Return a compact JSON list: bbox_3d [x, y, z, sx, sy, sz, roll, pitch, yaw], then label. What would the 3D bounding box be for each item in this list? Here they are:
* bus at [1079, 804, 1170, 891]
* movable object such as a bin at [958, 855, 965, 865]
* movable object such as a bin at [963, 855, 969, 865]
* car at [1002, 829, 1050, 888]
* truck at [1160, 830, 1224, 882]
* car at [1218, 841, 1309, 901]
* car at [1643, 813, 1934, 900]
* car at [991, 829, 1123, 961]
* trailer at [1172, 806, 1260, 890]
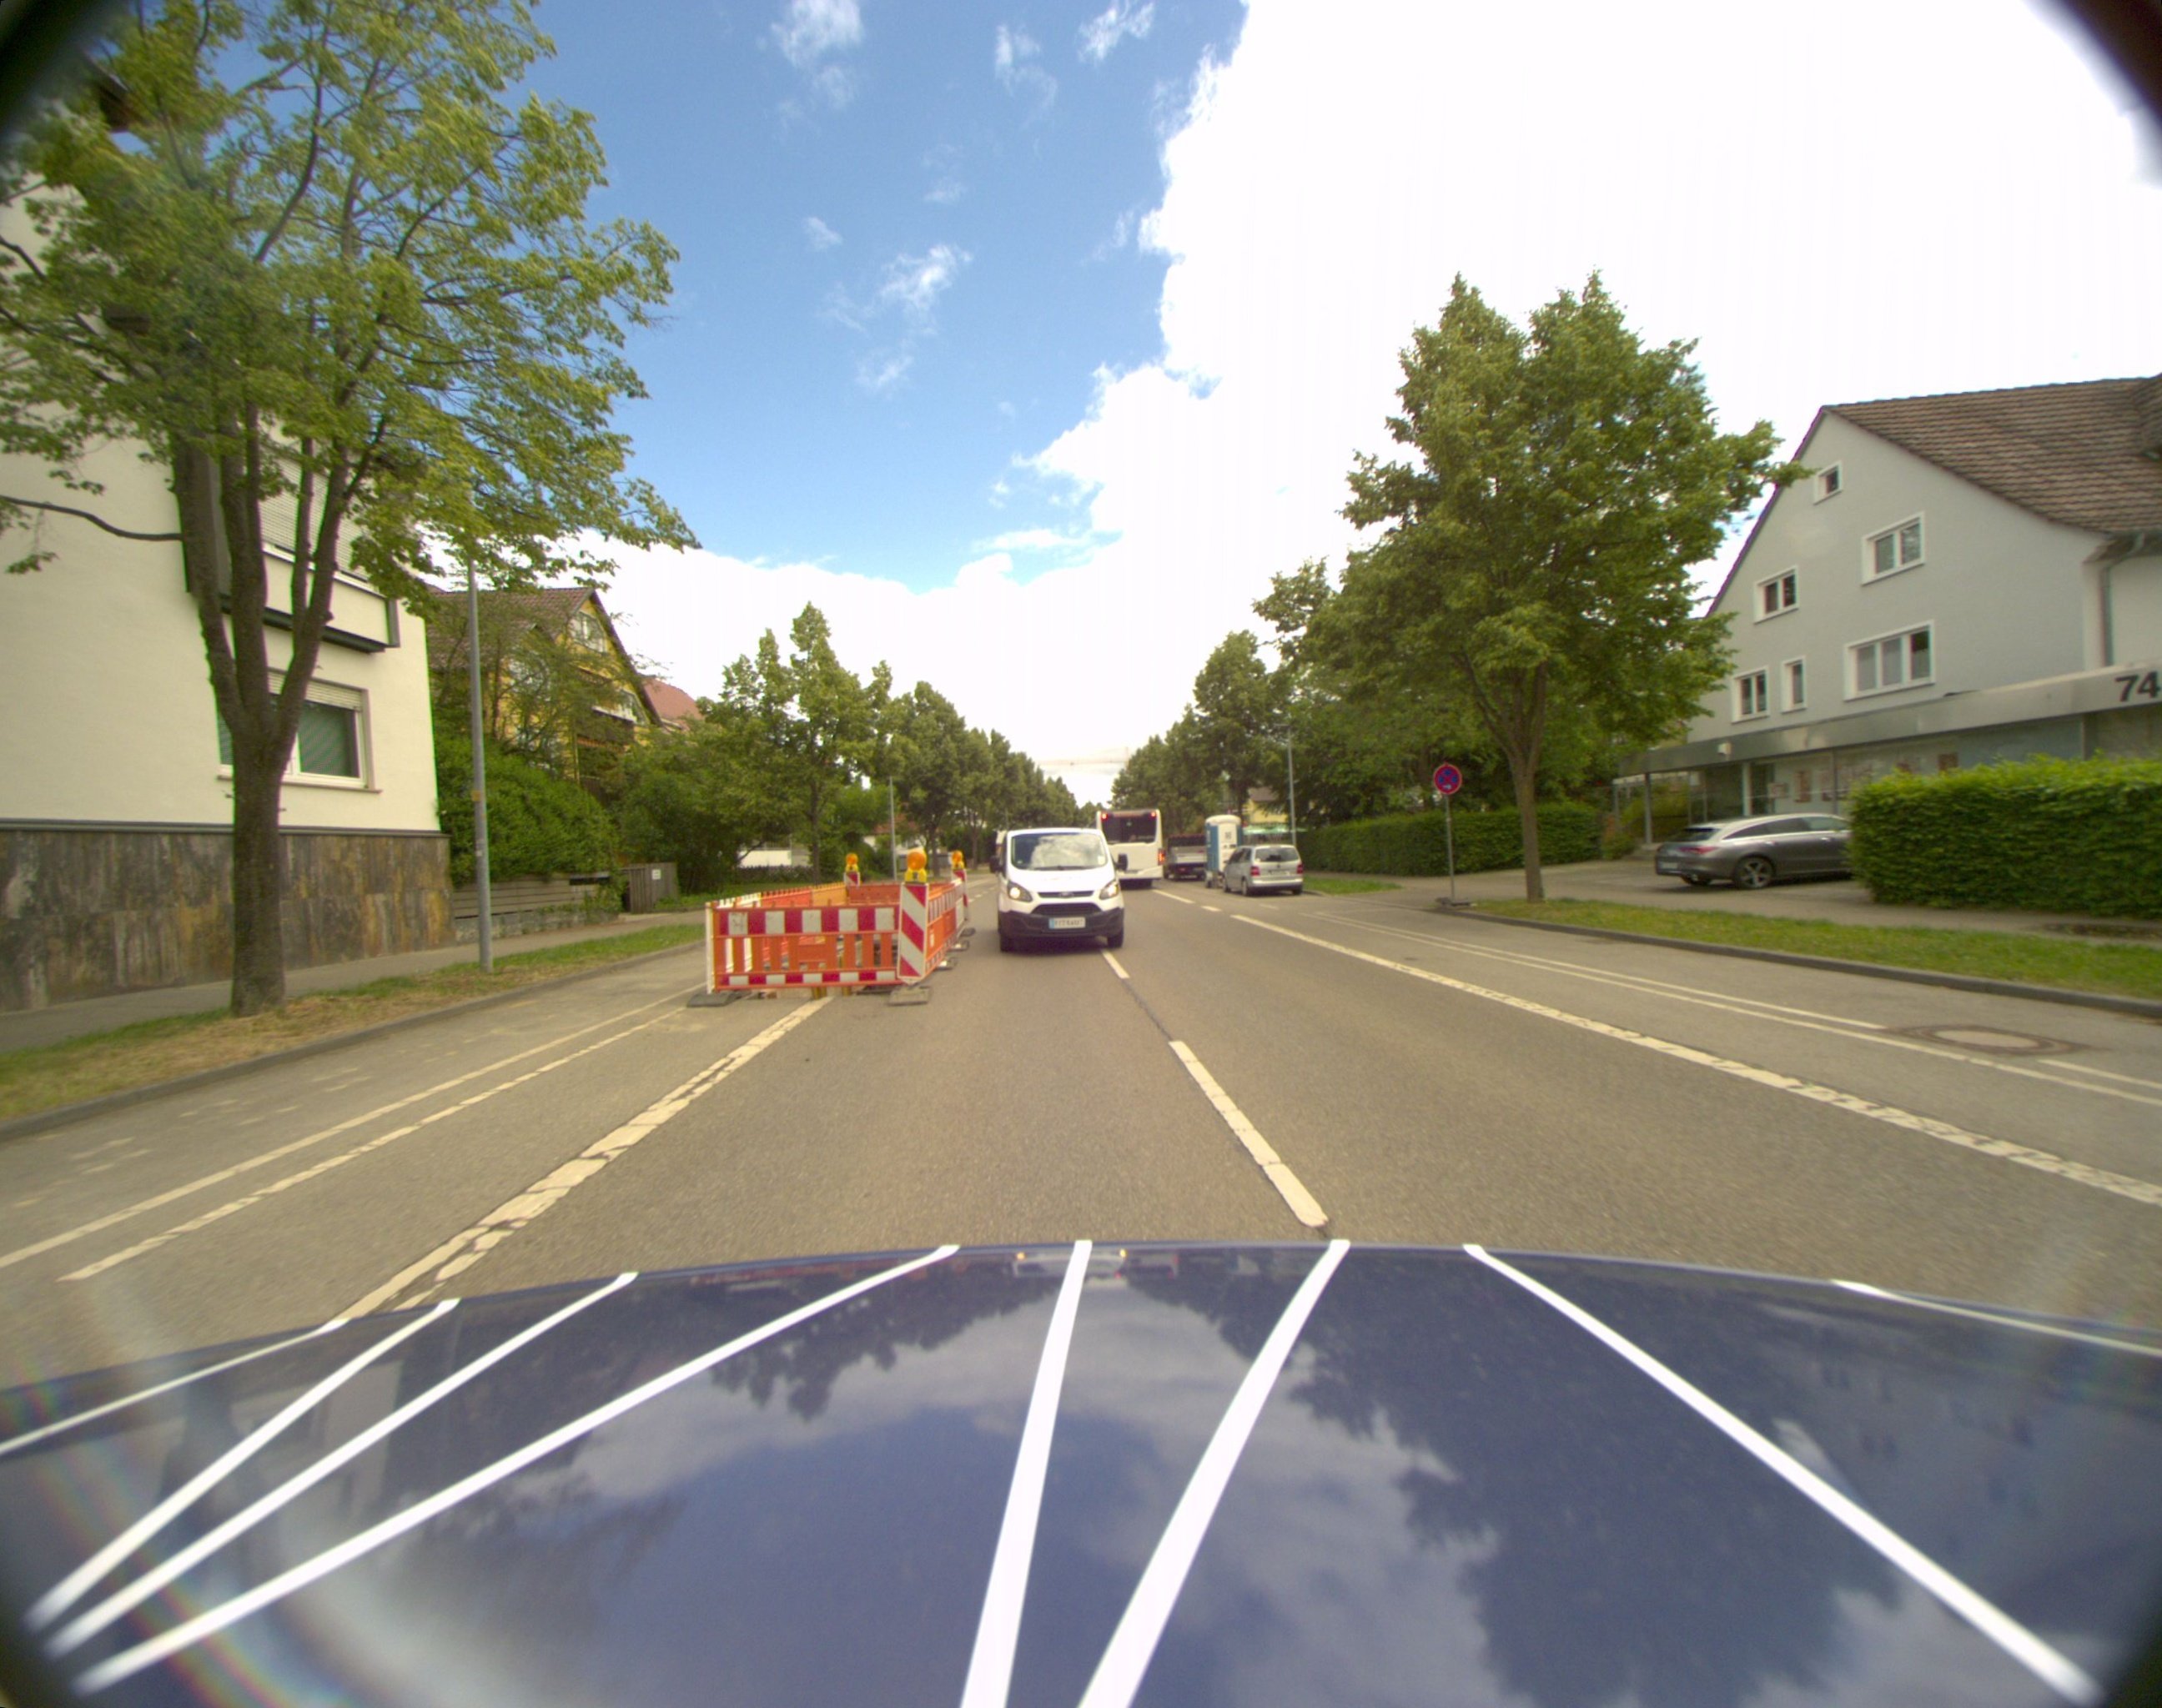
[{"bbox_3d":[1.637,-0.403,38.076,2.812,3.269,18.037,-2,1,-2],"label":"bus"},{"bbox_3d":[-13.245,0.696,84.293,0.540,1.052,0.519,-2,1,15],"label":"movable object such as a bin"},{"bbox_3d":[-12.727,0.689,84.150,0.499,1.038,0.519,-2,1,14],"label":"movable object such as a bin"},{"bbox_3d":[-2.597,0.199,36.881,1.999,2.584,3.999,-3,0,-2],"label":"car"},{"bbox_3d":[5.382,0.047,37.744,2.300,2.274,6.462,-2,1,1],"label":"truck"},{"bbox_3d":[5.754,0.453,24.476,1.693,1.674,4.223,-3,1,-2],"label":"car"},{"bbox_3d":[14.314,0.052,15.582,4.088,1.424,1.801,-4,0,5],"label":"car"},{"bbox_3d":[-0.493,0.622,14.628,1.999,2.002,5.316,-2,1,-3],"label":"car"},{"bbox_3d":[5.314,-0.252,31.011,2.378,2.946,7.010,-2,1,1],"label":"trailer"}]
